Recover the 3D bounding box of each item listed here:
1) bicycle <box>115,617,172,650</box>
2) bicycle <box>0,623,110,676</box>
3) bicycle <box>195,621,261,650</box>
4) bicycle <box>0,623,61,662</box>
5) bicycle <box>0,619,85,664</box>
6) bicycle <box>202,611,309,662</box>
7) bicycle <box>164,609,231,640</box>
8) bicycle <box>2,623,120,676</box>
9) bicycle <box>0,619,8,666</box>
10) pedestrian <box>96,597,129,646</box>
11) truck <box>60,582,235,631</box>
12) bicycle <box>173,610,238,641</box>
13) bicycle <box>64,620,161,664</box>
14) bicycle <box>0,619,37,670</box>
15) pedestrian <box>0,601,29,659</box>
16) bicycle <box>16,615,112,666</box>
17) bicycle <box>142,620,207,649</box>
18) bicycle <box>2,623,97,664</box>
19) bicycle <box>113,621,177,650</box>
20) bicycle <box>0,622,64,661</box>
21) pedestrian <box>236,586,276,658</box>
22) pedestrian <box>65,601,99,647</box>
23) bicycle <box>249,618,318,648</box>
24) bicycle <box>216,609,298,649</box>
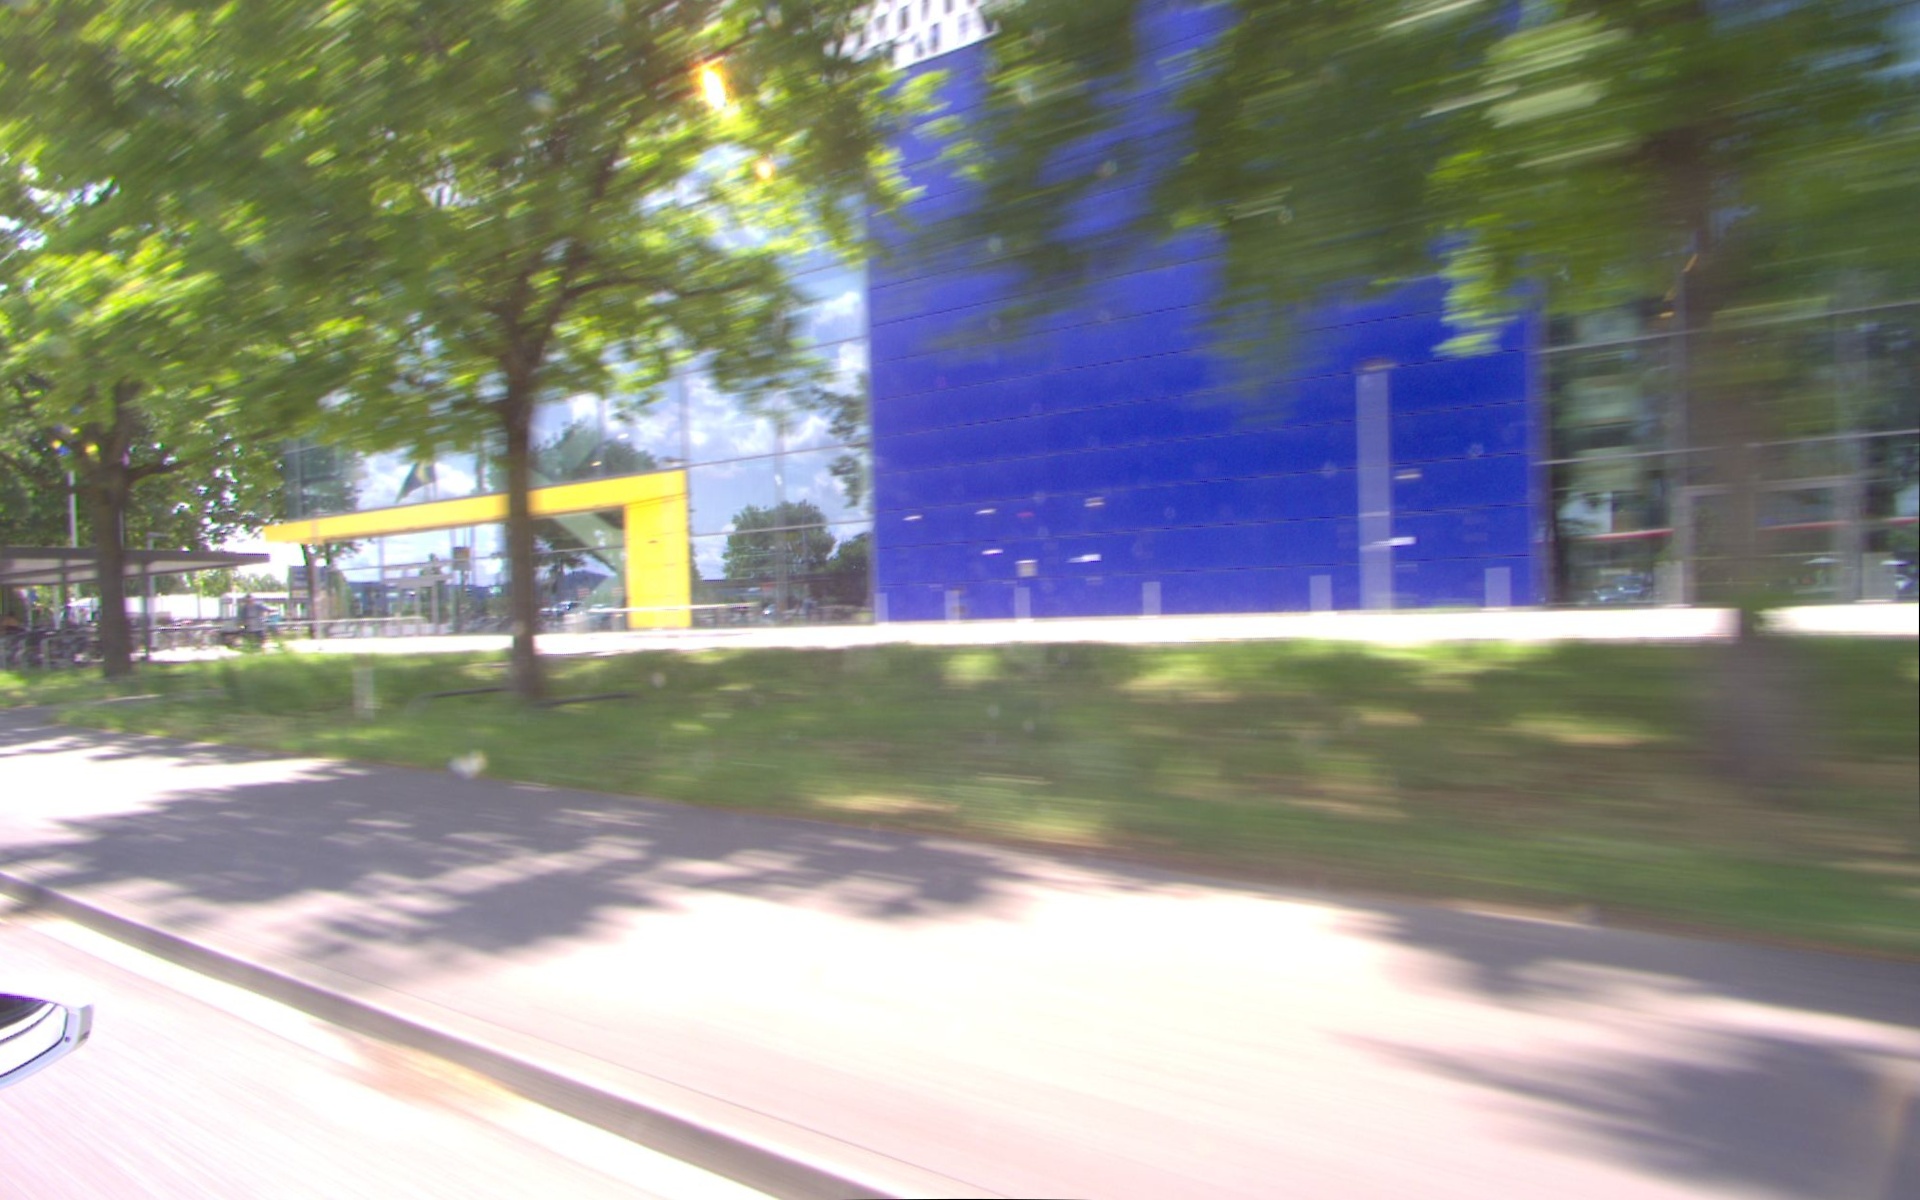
[{"bbox_3d":[-30.842,1.248,37.862,0.453,1.173,1.678,-1,1,17],"label":"bicycle"},{"bbox_3d":[-20.100,1.081,22.191,0.417,1.008,1.860,-1,2,27],"label":"bicycle"},{"bbox_3d":[-25.560,1.224,34.999,0.417,0.894,1.860,-1,1,27],"label":"bicycle"},{"bbox_3d":[-27.090,1.213,28.729,0.418,1.048,1.857,0,1,33],"label":"bicycle"},{"bbox_3d":[-25.490,1.130,27.731,0.417,1.131,1.860,-1,1,27],"label":"bicycle"},{"bbox_3d":[-17.119,0.873,24.378,1.980,1.123,0.575,-3,2,-21],"label":"bicycle"},{"bbox_3d":[-26.951,0.854,35.417,0.417,1.008,1.860,-1,1,27],"label":"bicycle"},{"bbox_3d":[-19.674,1.068,21.963,0.417,1.008,1.860,-1,2,27],"label":"bicycle"},{"bbox_3d":[-24.992,1.105,24.891,0.417,1.203,1.860,-1,1,27],"label":"bicycle"},{"bbox_3d":[-37.262,0.938,44.012,1.001,2.099,0.965,-2,0,-44],"label":"pedestrian"},{"bbox_3d":[-72.804,0.560,90.203,2.909,4.159,11.935,0,0,32],"label":"truck"},{"bbox_3d":[-27.544,0.916,36.586,0.417,1.008,1.860,-2,1,27],"label":"bicycle"},{"bbox_3d":[-21.967,1.068,25.982,0.417,1.008,1.860,-2,1,27],"label":"bicycle"},{"bbox_3d":[-23.166,1.079,23.669,0.418,1.186,1.891,0,2,33],"label":"bicycle"},{"bbox_3d":[-27.739,0.863,29.324,0.471,1.685,0.543,0,1,30],"label":"pedestrian"},{"bbox_3d":[-23.917,1.071,26.762,0.417,1.248,1.860,-1,1,27],"label":"bicycle"},{"bbox_3d":[-29.446,1.272,37.563,0.457,1.008,1.860,0,0,27],"label":"bicycle"},{"bbox_3d":[-24.918,1.174,27.439,0.417,1.008,1.860,-2,0,27],"label":"bicycle"},{"bbox_3d":[-31.506,1.354,38.726,0.418,1.008,1.857,0,1,33],"label":"bicycle"},{"bbox_3d":[-26.185,1.147,27.839,0.417,1.008,1.860,-1,1,27],"label":"bicycle"},{"bbox_3d":[-17.397,0.542,24.746,0.624,1.744,0.523,-3,1,-23],"label":"pedestrian"},{"bbox_3d":[-37.485,1.028,42.751,1.001,1.927,0.965,-2,0,-44],"label":"pedestrian"},{"bbox_3d":[-22.481,1.088,33.301,0.464,0.893,1.857,0,1,32],"label":"bicycle"},{"bbox_3d":[-23.609,0.953,33.654,0.713,1.246,2.128,0,2,41],"label":"bicycle"}]
